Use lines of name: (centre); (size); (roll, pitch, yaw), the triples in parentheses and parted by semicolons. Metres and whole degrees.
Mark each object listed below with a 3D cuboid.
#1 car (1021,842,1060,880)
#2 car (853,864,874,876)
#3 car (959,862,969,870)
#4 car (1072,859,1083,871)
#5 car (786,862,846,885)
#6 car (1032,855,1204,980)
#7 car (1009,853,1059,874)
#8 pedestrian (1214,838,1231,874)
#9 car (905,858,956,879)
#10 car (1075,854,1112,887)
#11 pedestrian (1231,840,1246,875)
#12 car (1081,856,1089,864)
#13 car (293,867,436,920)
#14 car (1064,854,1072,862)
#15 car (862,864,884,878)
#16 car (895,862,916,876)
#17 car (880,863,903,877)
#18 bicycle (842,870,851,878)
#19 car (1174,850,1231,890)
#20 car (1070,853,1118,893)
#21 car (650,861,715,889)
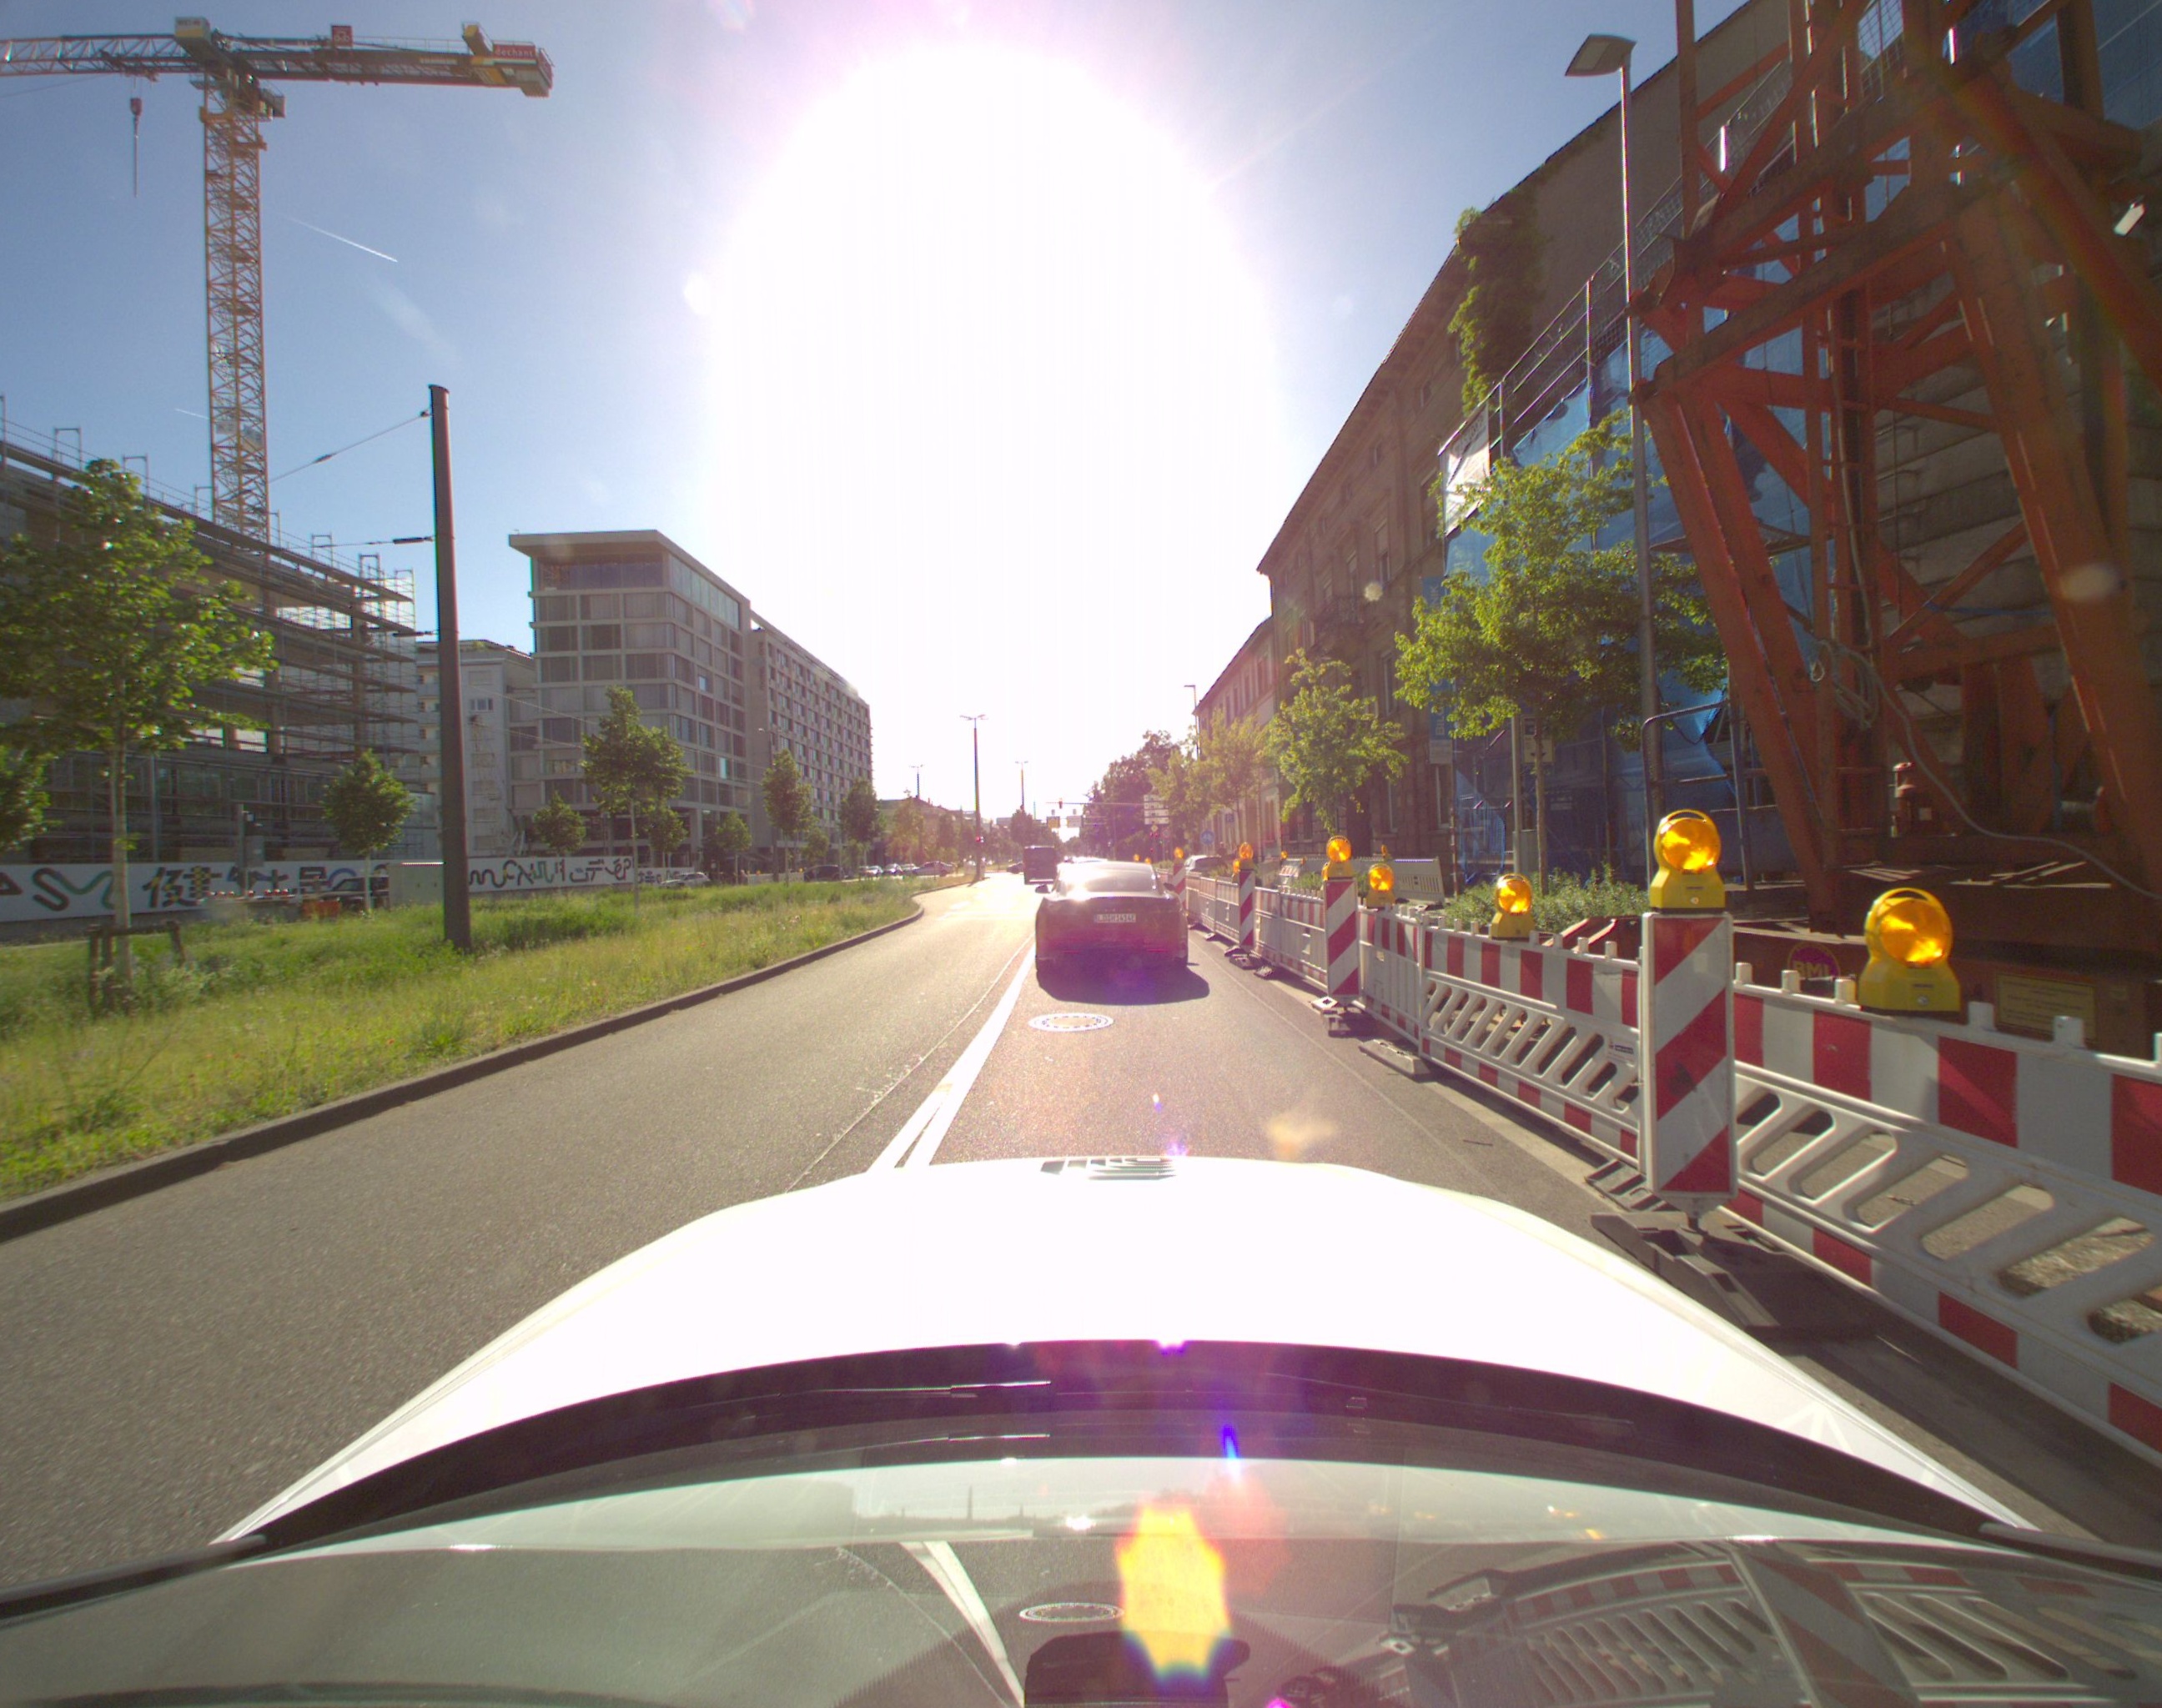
car: (-2.463, 0.409, 50.800); (2.212, 2.267, 4.482); (-1, 0, -1)
car: (-31.643, 2.328, 118.511); (1.784, 1.651, 4.000); (-2, 0, 1)
car: (-27.235, 2.729, 189.673); (1.784, 1.651, 4.000); (-2, 0, 1)
car: (-0.582, 1.789, 130.010); (1.787, 1.873, 3.847); (-1, -1, -1)
car: (-23.094, 1.706, 71.055); (4.546, 1.792, 1.978); (-2, 0, -35)
car: (0.437, 0.756, 11.988); (2.045, 1.444, 4.523); (-1, 0, 0)
car: (-4.437, 0.859, 77.568); (4.497, 1.792, 2.000); (-2, 0, 0)
pedestrian: (7.674, 0.119, 44.069); (0.656, 1.913, 0.587); (-5, 0, -1)
car: (-14.173, 1.350, 76.480); (4.520, 1.792, 1.990); (-2, 0, -15)
car: (0.614, 0.795, 41.186); (1.744, 1.527, 4.005); (-1, 0, 1)
pedestrian: (8.529, 0.175, 44.063); (0.561, 1.821, 0.587); (-5, 0, -1)
car: (1.053, 1.549, 194.921); (1.787, 1.873, 3.847); (-1, -1, -1)
car: (-29.593, 1.587, 33.858); (1.900, 1.918, 4.333); (-2, 0, 4)
car: (-3.167, 1.011, 198.145); (1.787, 1.873, 3.847); (-1, -1, -1)
car: (-26.705, 2.107, 104.720); (1.784, 1.651, 4.000); (-2, 0, 1)
car: (-23.782, 2.021, 110.452); (1.784, 1.651, 4.000); (-2, 0, 1)
car: (-23.808, 1.965, 102.431); (1.784, 1.651, 4.000); (-2, 0, 1)
bicycle: (-31.493, 2.666, 109.347); (0.584, 1.100, 1.624); (0, -1, 4)
car: (5.168, 0.639, 35.124); (1.642, 1.475, 4.699); (-5, 0, 0)
car: (0.472, 0.686, 32.433); (1.742, 1.427, 4.837); (-1, 0, 0)
car: (-29.623, 1.553, 60.649); (1.891, 1.918, 4.009); (-2, 0, 26)
